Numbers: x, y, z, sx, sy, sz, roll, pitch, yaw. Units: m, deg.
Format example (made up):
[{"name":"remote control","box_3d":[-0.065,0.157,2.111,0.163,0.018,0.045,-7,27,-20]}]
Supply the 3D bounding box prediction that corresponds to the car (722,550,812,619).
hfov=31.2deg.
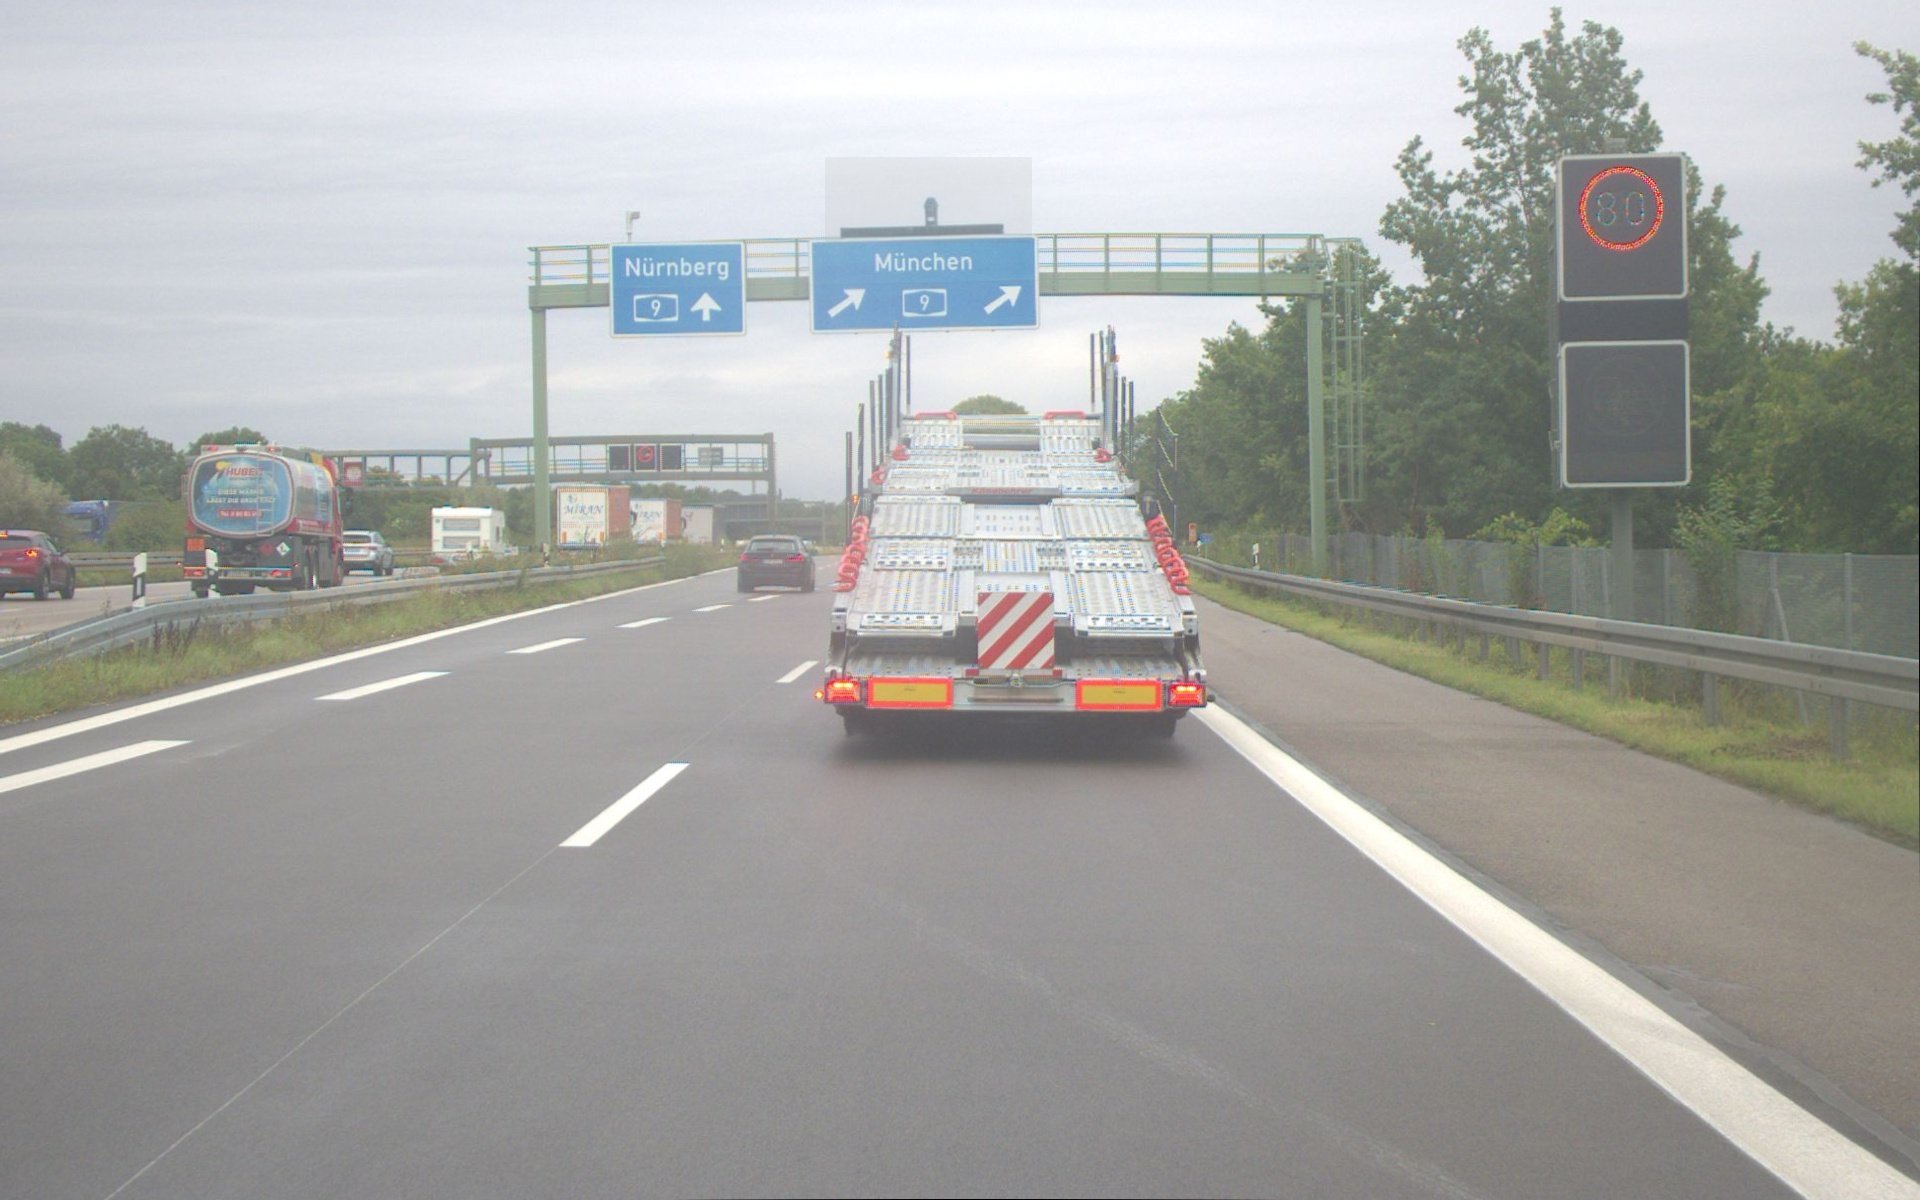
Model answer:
[{"name":"car","box_3d":[-4.773,-0.412,85.612,1.961,1.632,5.625,1,1,-1]}]

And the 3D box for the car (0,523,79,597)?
[{"name":"car","box_3d":[-20.674,-0.880,75.341,1.794,1.551,3.826,1,1,-1]}]

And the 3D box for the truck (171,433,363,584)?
[{"name":"truck","box_3d":[-16.247,-2.114,81.179,2.856,3.353,8.632,0,1,-1]}]

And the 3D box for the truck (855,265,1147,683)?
[{"name":"truck","box_3d":[0.467,-1.308,37.426,2.739,3.954,9.129,1,1,1]}]

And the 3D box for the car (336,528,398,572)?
[{"name":"car","box_3d":[-21.679,-1.838,125.693,1.682,1.525,4.001,1,1,-2]}]

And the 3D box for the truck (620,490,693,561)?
[{"name":"truck","box_3d":[-19.487,-4.788,221.317,3.733,4.402,11.898,1,1,-1]}]

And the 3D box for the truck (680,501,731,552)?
[{"name":"truck","box_3d":[-19.222,-5.546,260.307,3.028,3.672,12.150,1,1,-1]}]

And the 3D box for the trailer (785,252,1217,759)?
[{"name":"trailer","box_3d":[0.319,-0.731,27.648,2.777,3.273,10.407,1,1,1]}]

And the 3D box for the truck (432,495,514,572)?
[{"name":"truck","box_3d":[-17.700,-2.432,125.187,2.243,2.695,5.280,1,1,-1]}]

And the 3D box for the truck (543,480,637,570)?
[{"name":"truck","box_3d":[-18.887,-3.828,176.180,3.733,4.402,10.196,1,1,-1]}]
